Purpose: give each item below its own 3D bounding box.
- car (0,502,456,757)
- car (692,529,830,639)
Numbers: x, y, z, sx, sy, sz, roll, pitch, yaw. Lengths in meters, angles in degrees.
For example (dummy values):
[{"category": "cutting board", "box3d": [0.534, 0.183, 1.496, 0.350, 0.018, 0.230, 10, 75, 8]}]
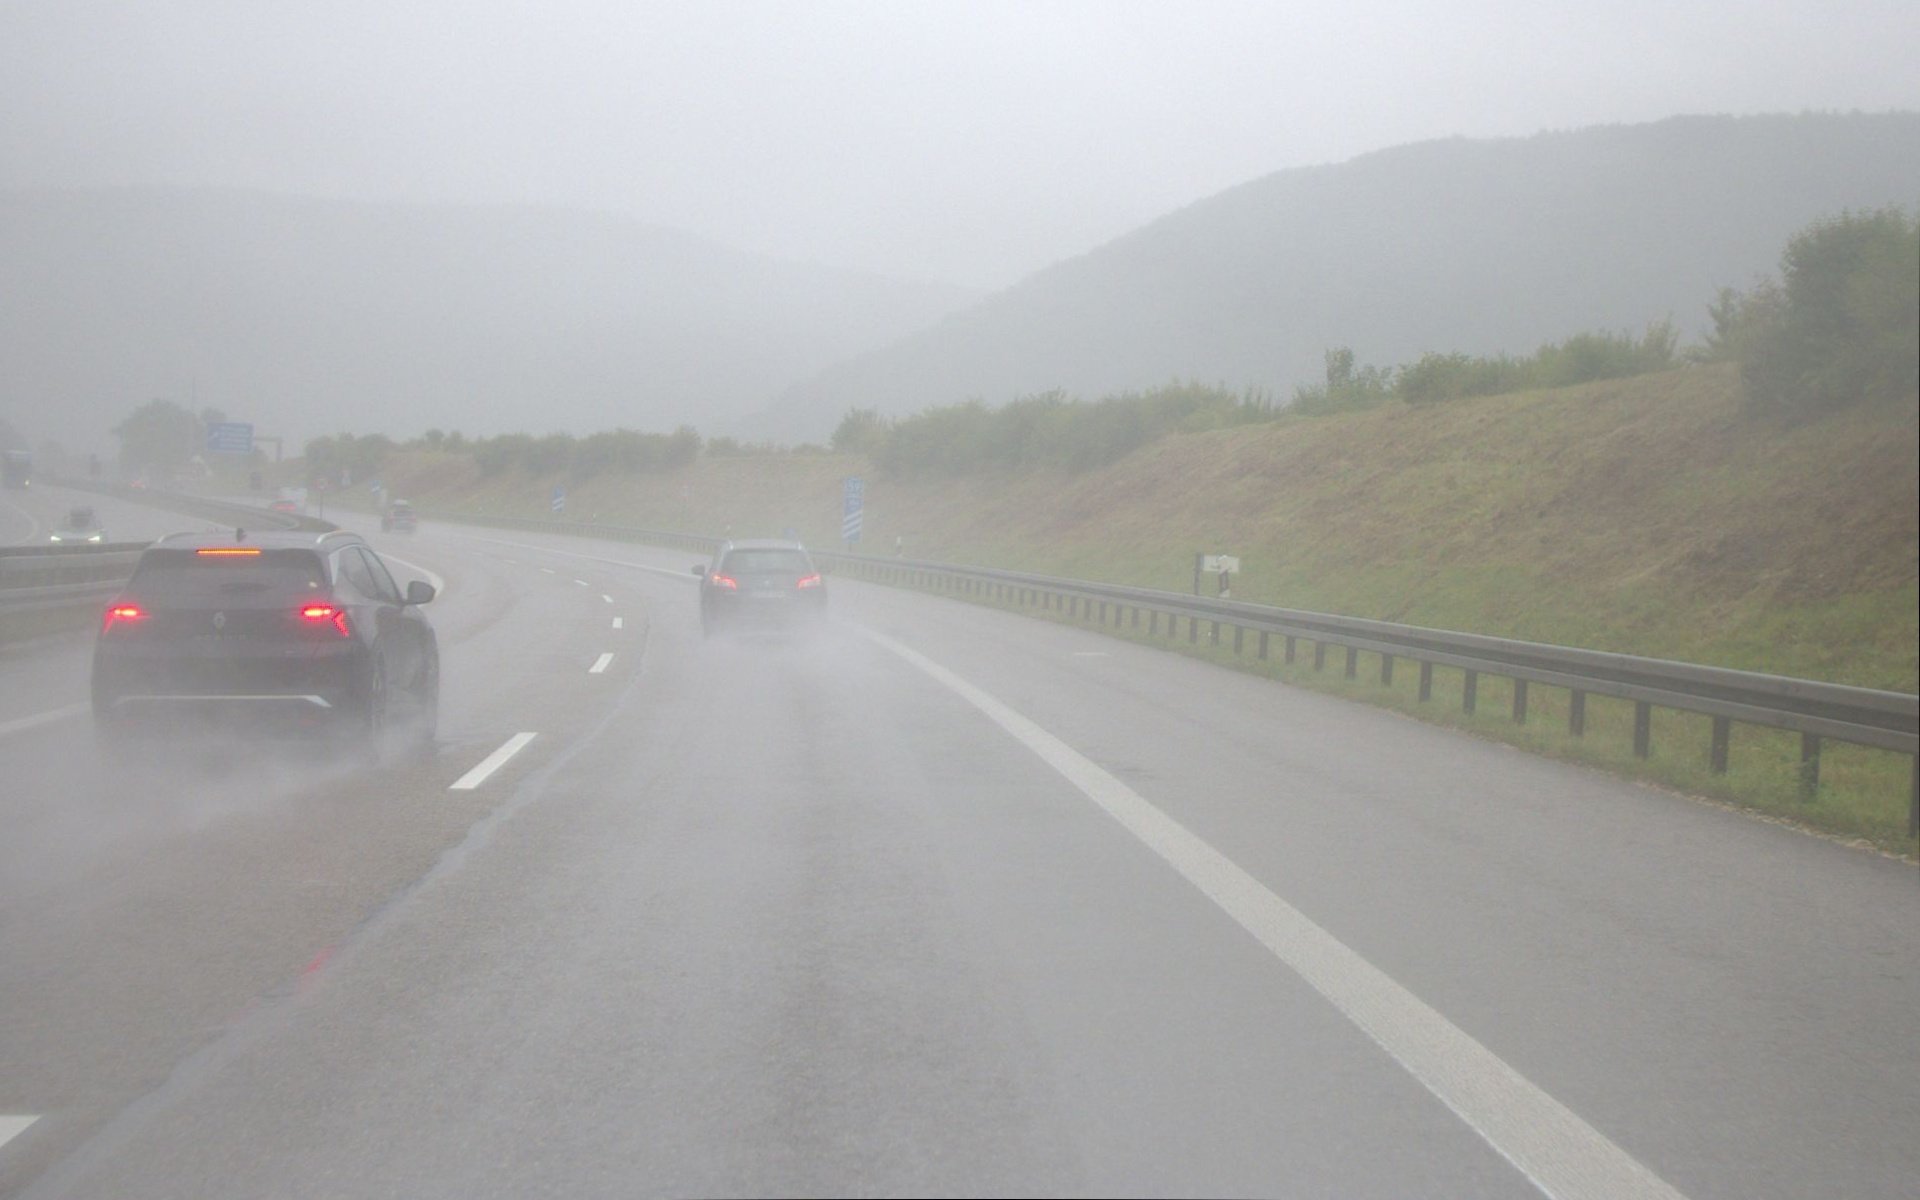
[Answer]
[{"category": "car", "box3d": [-4.951, 0.166, 23.929, 2.406, 1.510, 4.784, 2, 0, -3]}, {"category": "car", "box3d": [-2.922, -0.245, 49.912, 1.679, 1.467, 3.815, 2, 0, -7]}]
